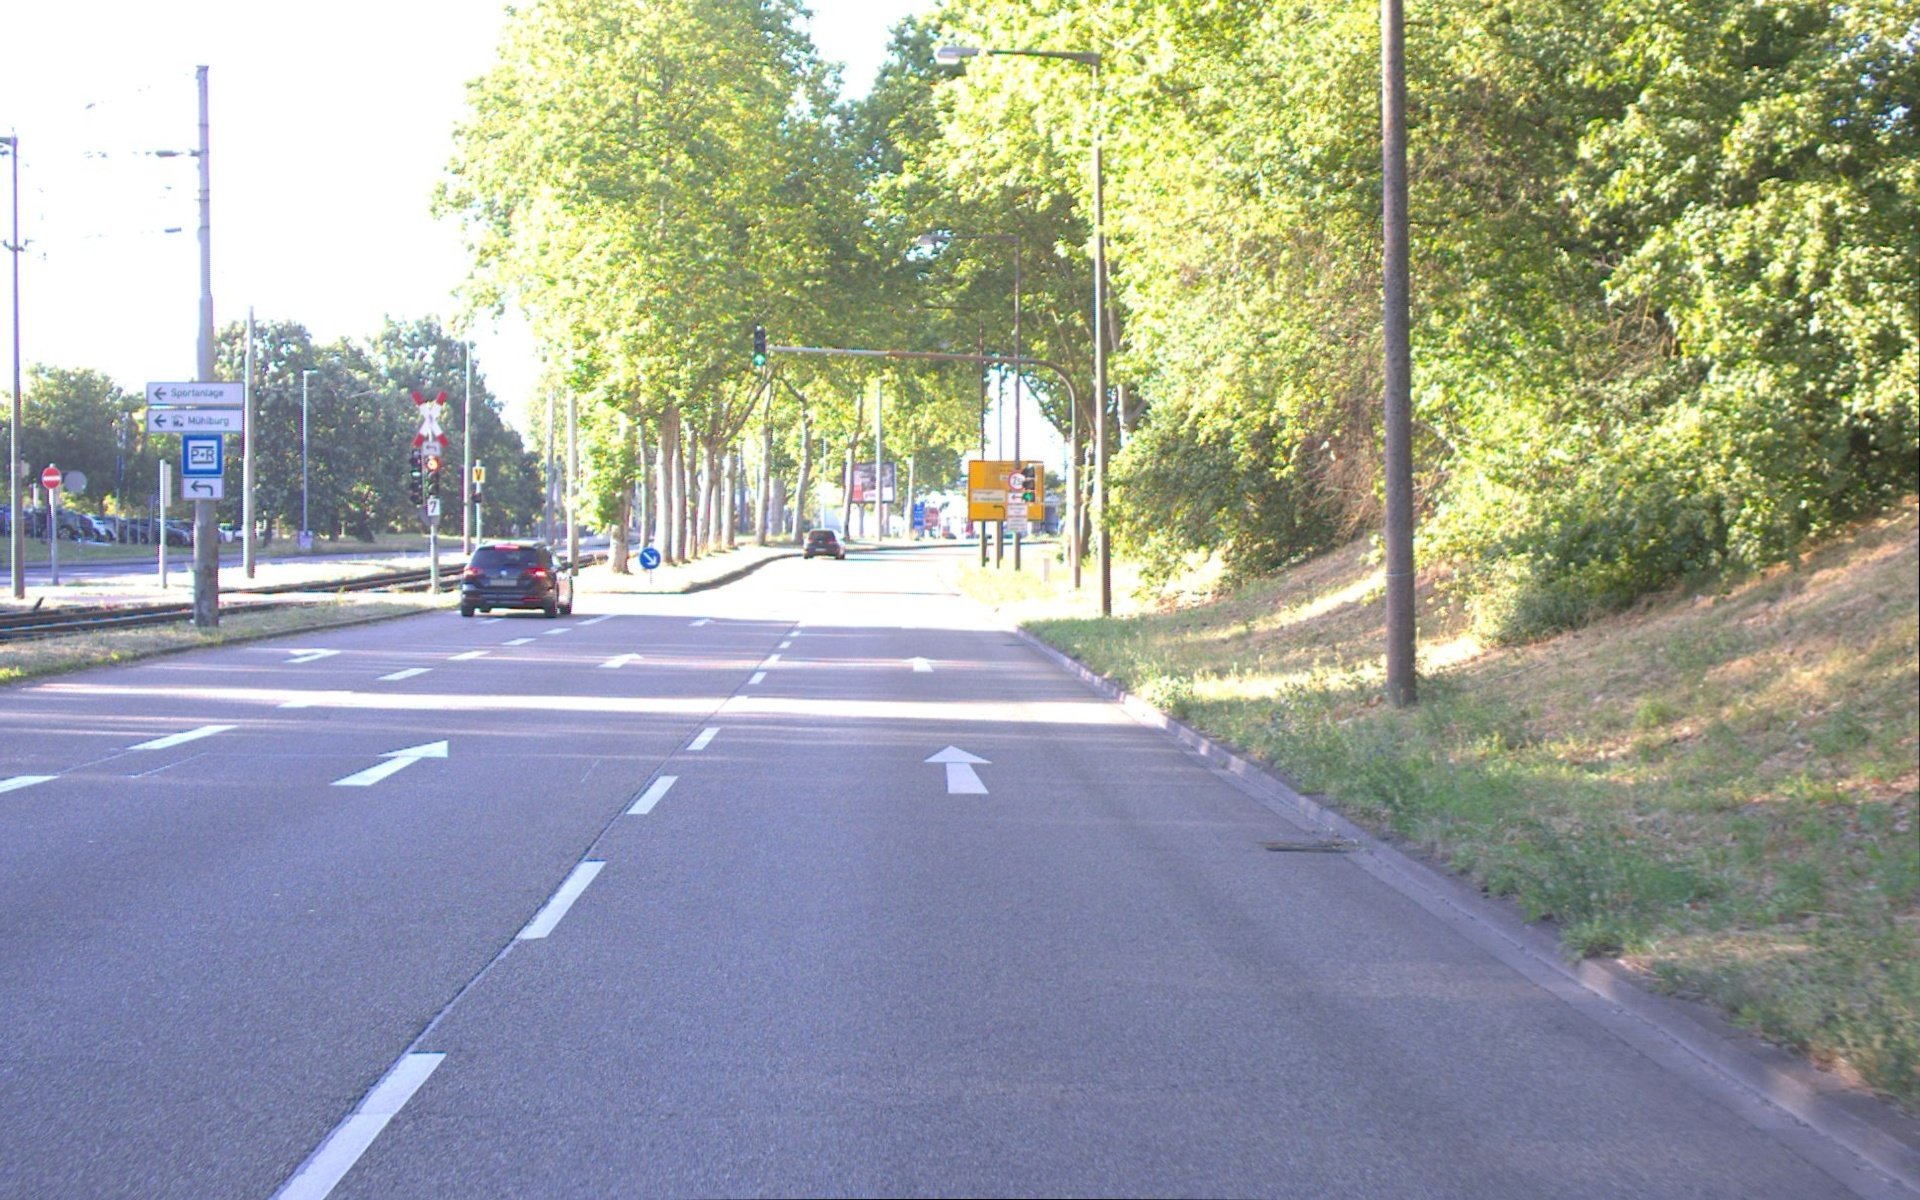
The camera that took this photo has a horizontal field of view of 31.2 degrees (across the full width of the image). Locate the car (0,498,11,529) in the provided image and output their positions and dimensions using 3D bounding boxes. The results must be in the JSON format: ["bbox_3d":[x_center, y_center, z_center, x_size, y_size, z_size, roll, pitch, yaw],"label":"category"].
[{"bbox_3d":[-45.695,-4.024,159.129,3.141,1.387,1.456,1,1,-5],"label":"car"}]

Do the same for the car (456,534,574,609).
[{"bbox_3d":[-8.472,-0.560,65.671,1.792,1.398,3.689,0,1,0],"label":"car"}]

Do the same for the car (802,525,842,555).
[{"bbox_3d":[-6.621,-2.892,165.633,1.792,1.398,3.689,0,1,0],"label":"car"}]
